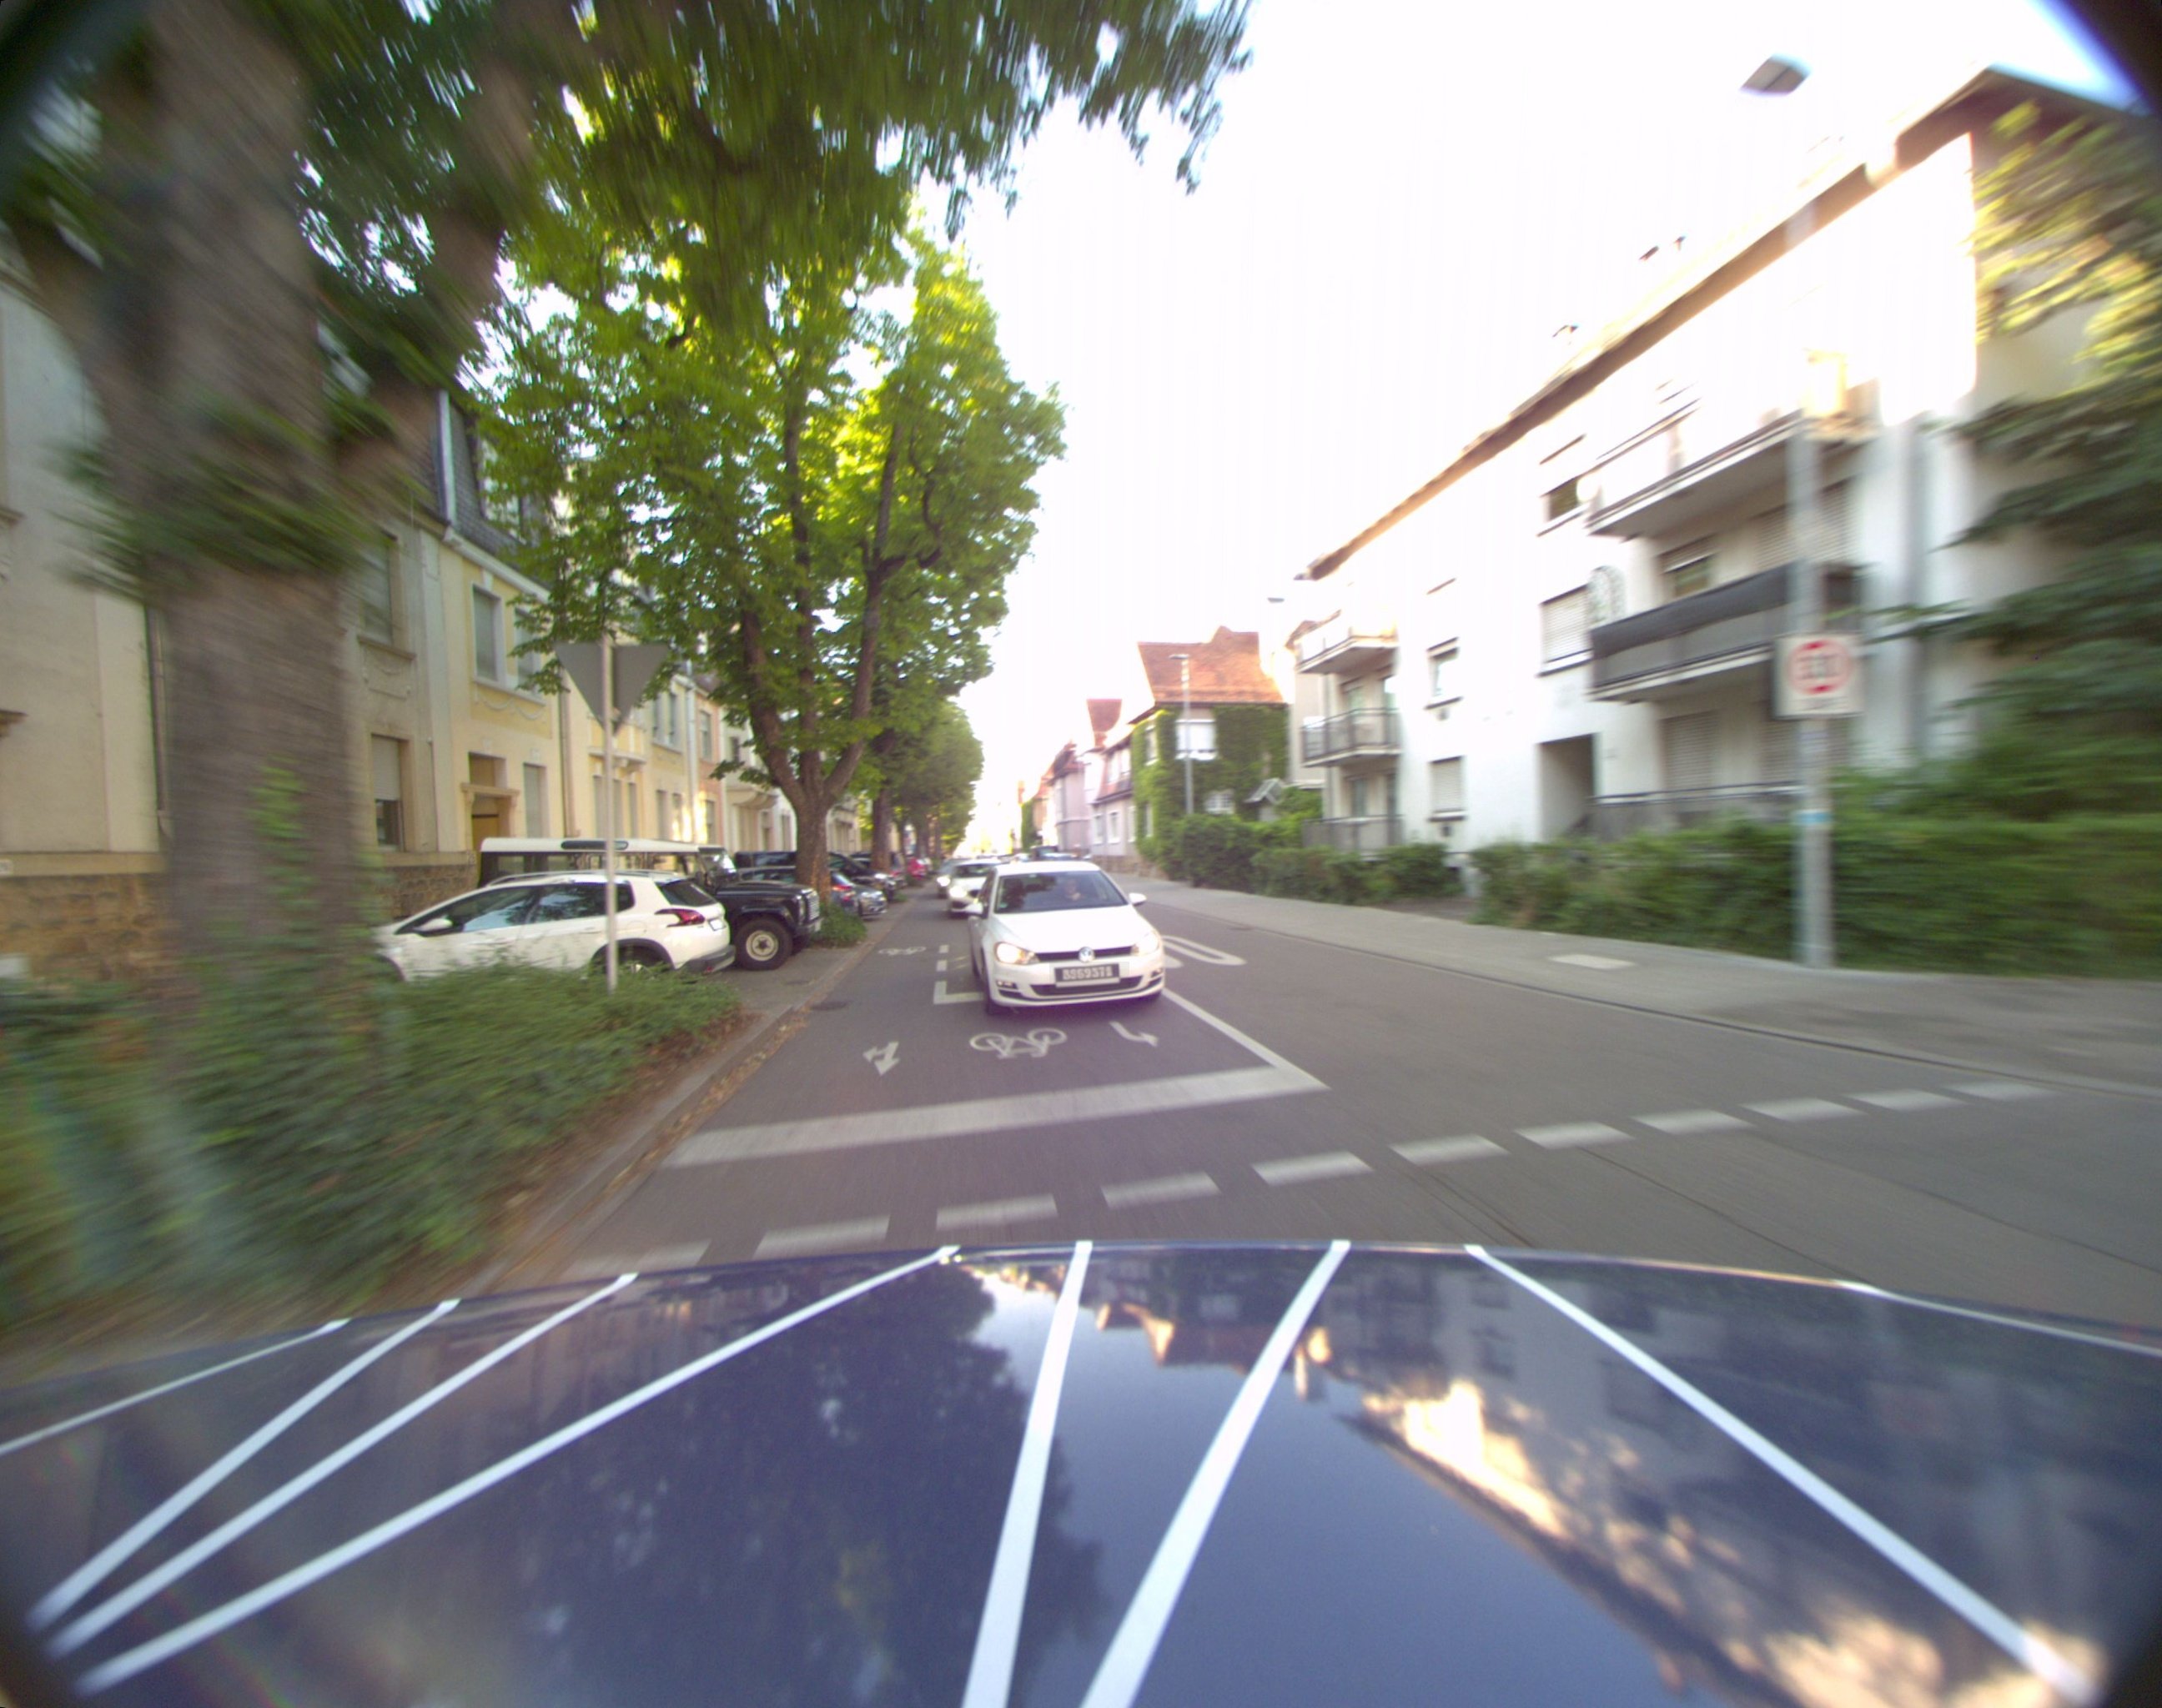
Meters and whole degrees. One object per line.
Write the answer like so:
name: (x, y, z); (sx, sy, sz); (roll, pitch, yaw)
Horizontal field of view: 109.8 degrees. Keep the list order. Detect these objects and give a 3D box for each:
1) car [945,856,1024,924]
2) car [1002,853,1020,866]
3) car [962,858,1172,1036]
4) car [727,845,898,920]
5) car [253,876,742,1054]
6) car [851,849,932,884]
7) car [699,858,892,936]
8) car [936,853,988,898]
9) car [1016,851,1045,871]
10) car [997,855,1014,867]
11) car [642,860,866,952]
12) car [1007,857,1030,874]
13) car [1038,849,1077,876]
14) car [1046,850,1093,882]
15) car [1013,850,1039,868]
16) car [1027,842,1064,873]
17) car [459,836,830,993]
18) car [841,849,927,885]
car: (-2.699, 0.891, 20.755); (1.844, 1.509, 4.018); (-3, 1, -9)
car: (-8.573, 0.680, 92.563); (1.822, 1.419, 4.285); (-4, 1, -9)
car: (-0.425, 0.853, 9.027); (1.844, 1.442, 4.107); (-3, 1, -9)
car: (-8.286, 0.832, 23.932); (4.713, 2.002, 1.998); (-3, 1, -11)
car: (-6.268, 1.128, 8.676); (4.049, 1.566, 1.682); (-2, 0, -11)
car: (-11.843, 0.739, 47.805); (4.713, 1.863, 1.998); (-3, 1, -11)
car: (-7.086, 1.025, 19.326); (4.211, 1.598, 1.998); (-3, 2, -11)
car: (-4.784, 0.794, 30.438); (1.844, 1.509, 4.749); (-3, 1, -9)
car: (-4.104, 0.539, 61.181); (1.822, 1.419, 4.285); (-4, 1, -9)
car: (-9.935, 0.845, 99.741); (1.822, 1.419, 4.285); (-4, 1, -9)
car: (-7.150, 1.088, 17.084); (4.211, 1.619, 1.971); (-3, 1, -11)
car: (-6.222, 1.125, 75.060); (1.822, 1.419, 4.285); (-4, 1, -9)
car: (-1.455, 0.490, 45.201); (1.694, 1.445, 3.996); (-4, 1, -9)
car: (-0.645, 0.568, 38.549); (1.694, 1.445, 3.996); (-4, 1, -9)
car: (-4.927, 0.451, 67.067); (1.822, 1.419, 4.285); (-4, 1, -9)
car: (-2.357, 0.211, 49.972); (1.822, 1.895, 4.285); (-4, 1, -9)
car: (-6.298, 0.798, 11.506); (4.435, 1.974, 1.757); (-2, 4, -9)
car: (-11.612, 0.734, 45.158); (4.713, 1.863, 1.998); (-3, 1, -11)
